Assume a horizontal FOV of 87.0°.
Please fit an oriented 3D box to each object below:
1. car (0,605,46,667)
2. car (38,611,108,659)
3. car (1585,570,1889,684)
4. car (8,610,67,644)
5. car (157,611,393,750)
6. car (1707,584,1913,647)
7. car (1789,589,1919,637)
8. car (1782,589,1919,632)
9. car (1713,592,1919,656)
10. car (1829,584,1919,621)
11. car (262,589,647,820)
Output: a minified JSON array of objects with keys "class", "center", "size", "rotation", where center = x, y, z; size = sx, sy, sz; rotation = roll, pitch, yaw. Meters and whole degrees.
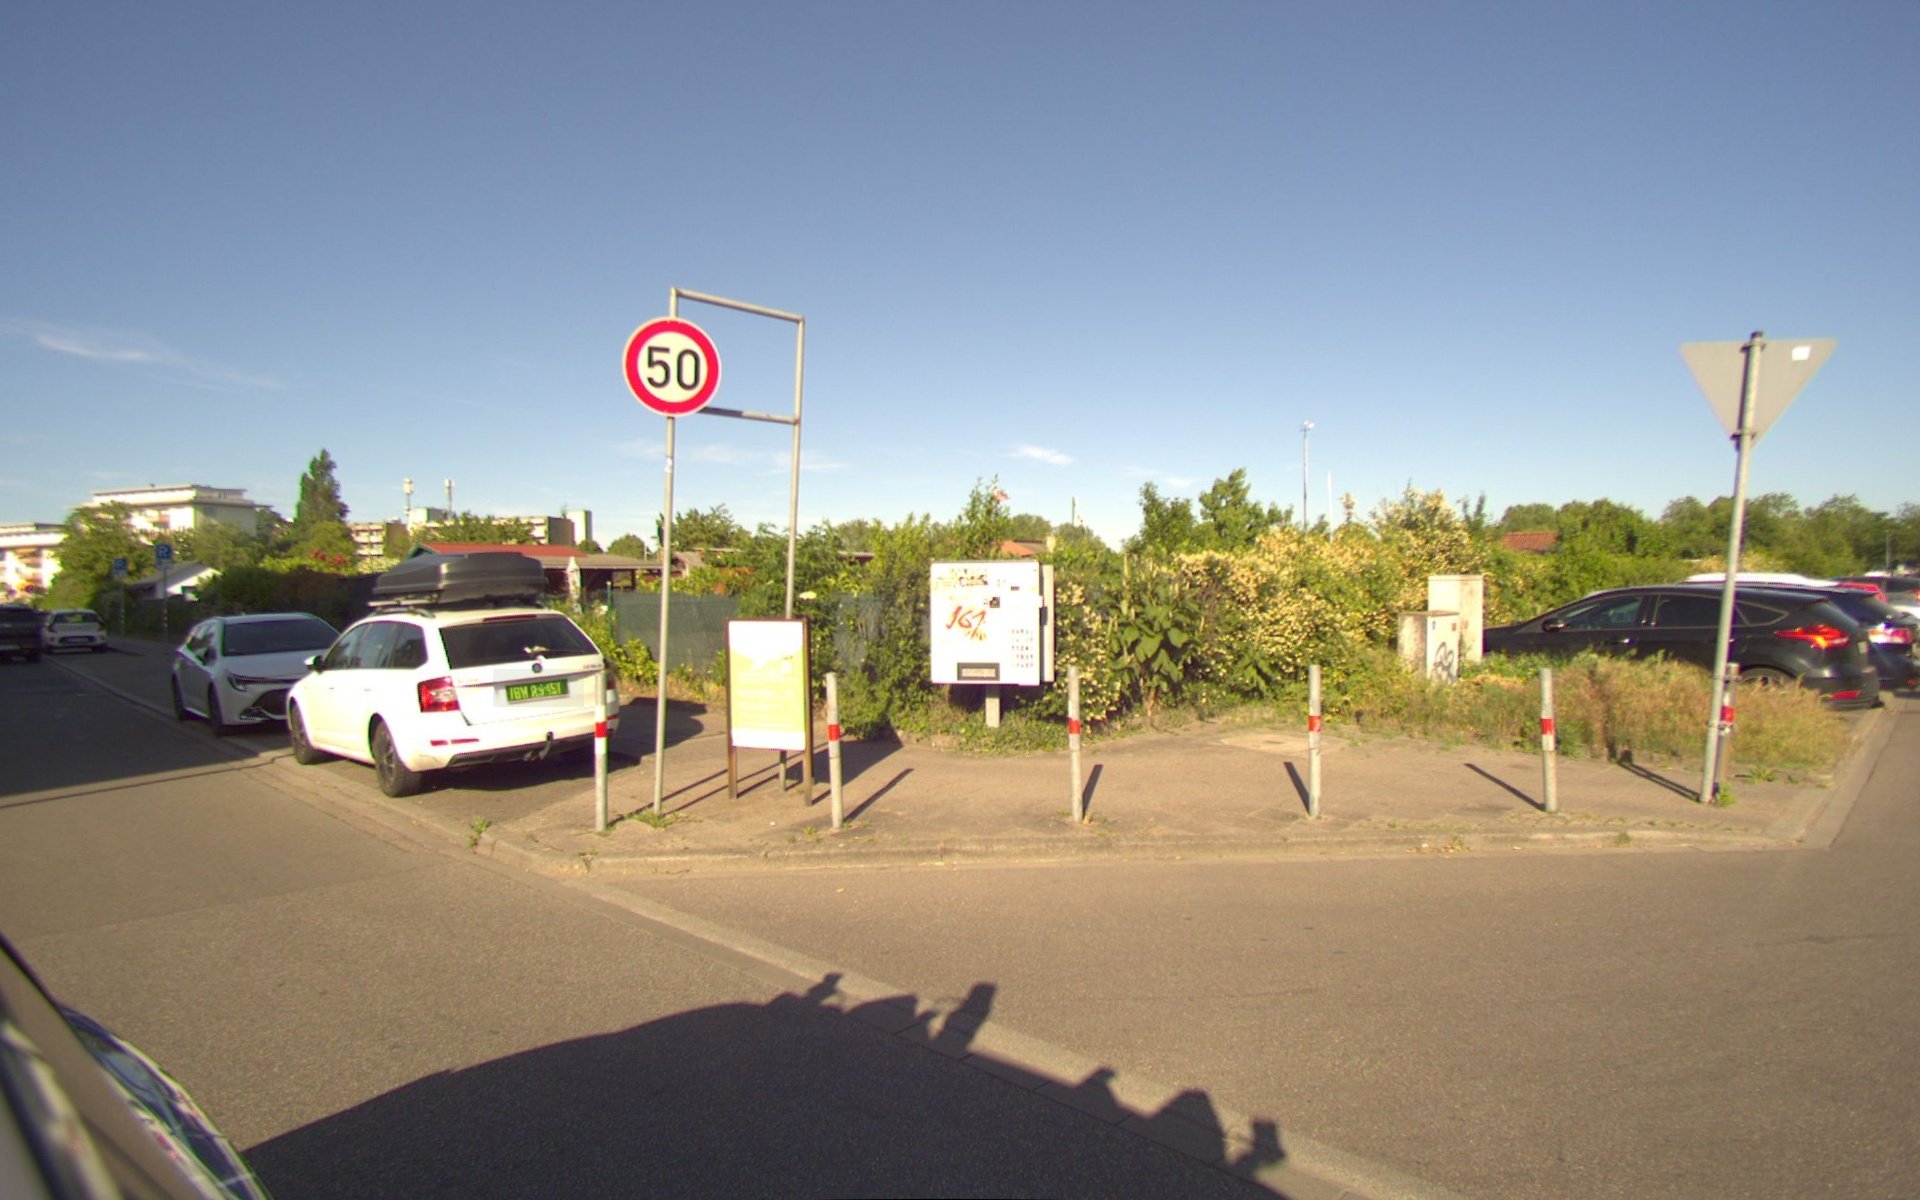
[{"class":"car","center":[-28.926,1.051,29.976],"size":[4.831,1.740,1.924],"rotation":[-1,-1,37]},{"class":"car","center":[-30.286,1.148,34.534],"size":[3.403,1.499,1.510],"rotation":[-1,1,44]},{"class":"car","center":[13.053,0.418,17.189],"size":[1.487,1.707,3.852],"rotation":[-1,0,-40]},{"class":"car","center":[-42.940,1.227,47.077],"size":[4.518,1.434,1.677],"rotation":[-1,2,44]},{"class":"car","center":[-9.382,0.943,13.690],"size":[4.543,1.456,1.727],"rotation":[-1,3,45]},{"class":"car","center":[21.767,0.374,26.050],"size":[1.487,1.496,3.852],"rotation":[-1,0,-40]},{"class":"car","center":[25.844,0.358,28.442],"size":[3.846,1.273,1.489],"rotation":[-1,0,43]},{"class":"car","center":[28.671,0.340,32.160],"size":[3.846,1.273,1.489],"rotation":[-1,-2,43]},{"class":"car","center":[18.426,0.507,21.436],"size":[3.846,1.273,1.489],"rotation":[-1,-2,43]},{"class":"car","center":[34.178,0.103,36.809],"size":[3.846,1.273,1.489],"rotation":[-1,-2,43]},{"class":"car","center":[-4.794,0.767,9.236],"size":[4.518,1.524,1.677],"rotation":[-2,2,44]}]
